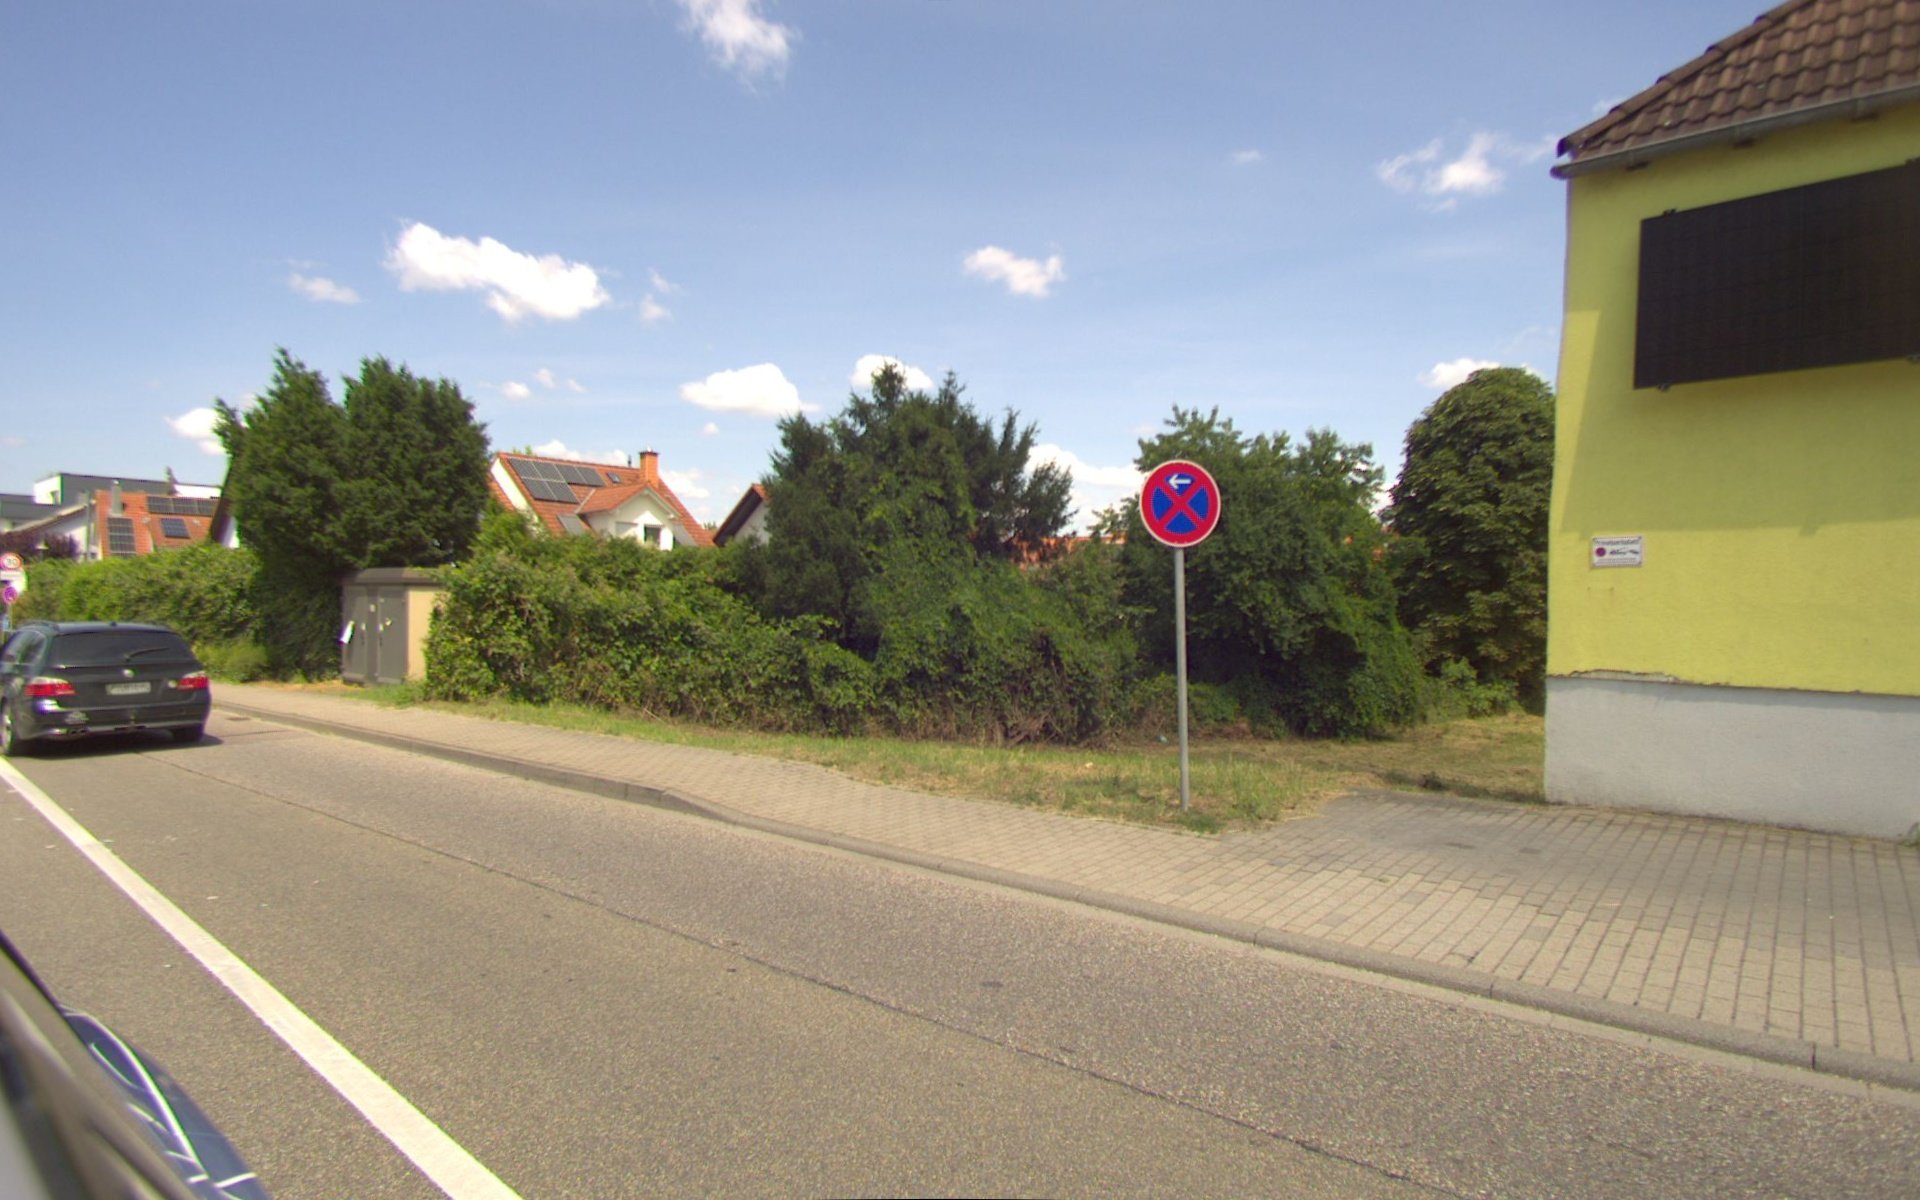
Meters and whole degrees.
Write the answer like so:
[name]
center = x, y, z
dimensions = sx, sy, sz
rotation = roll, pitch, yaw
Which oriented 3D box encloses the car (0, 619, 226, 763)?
[car]
center = -10.891, 0.981, 12.478
dimensions = 4.666, 1.453, 1.845
rotation = -1, -2, 39
